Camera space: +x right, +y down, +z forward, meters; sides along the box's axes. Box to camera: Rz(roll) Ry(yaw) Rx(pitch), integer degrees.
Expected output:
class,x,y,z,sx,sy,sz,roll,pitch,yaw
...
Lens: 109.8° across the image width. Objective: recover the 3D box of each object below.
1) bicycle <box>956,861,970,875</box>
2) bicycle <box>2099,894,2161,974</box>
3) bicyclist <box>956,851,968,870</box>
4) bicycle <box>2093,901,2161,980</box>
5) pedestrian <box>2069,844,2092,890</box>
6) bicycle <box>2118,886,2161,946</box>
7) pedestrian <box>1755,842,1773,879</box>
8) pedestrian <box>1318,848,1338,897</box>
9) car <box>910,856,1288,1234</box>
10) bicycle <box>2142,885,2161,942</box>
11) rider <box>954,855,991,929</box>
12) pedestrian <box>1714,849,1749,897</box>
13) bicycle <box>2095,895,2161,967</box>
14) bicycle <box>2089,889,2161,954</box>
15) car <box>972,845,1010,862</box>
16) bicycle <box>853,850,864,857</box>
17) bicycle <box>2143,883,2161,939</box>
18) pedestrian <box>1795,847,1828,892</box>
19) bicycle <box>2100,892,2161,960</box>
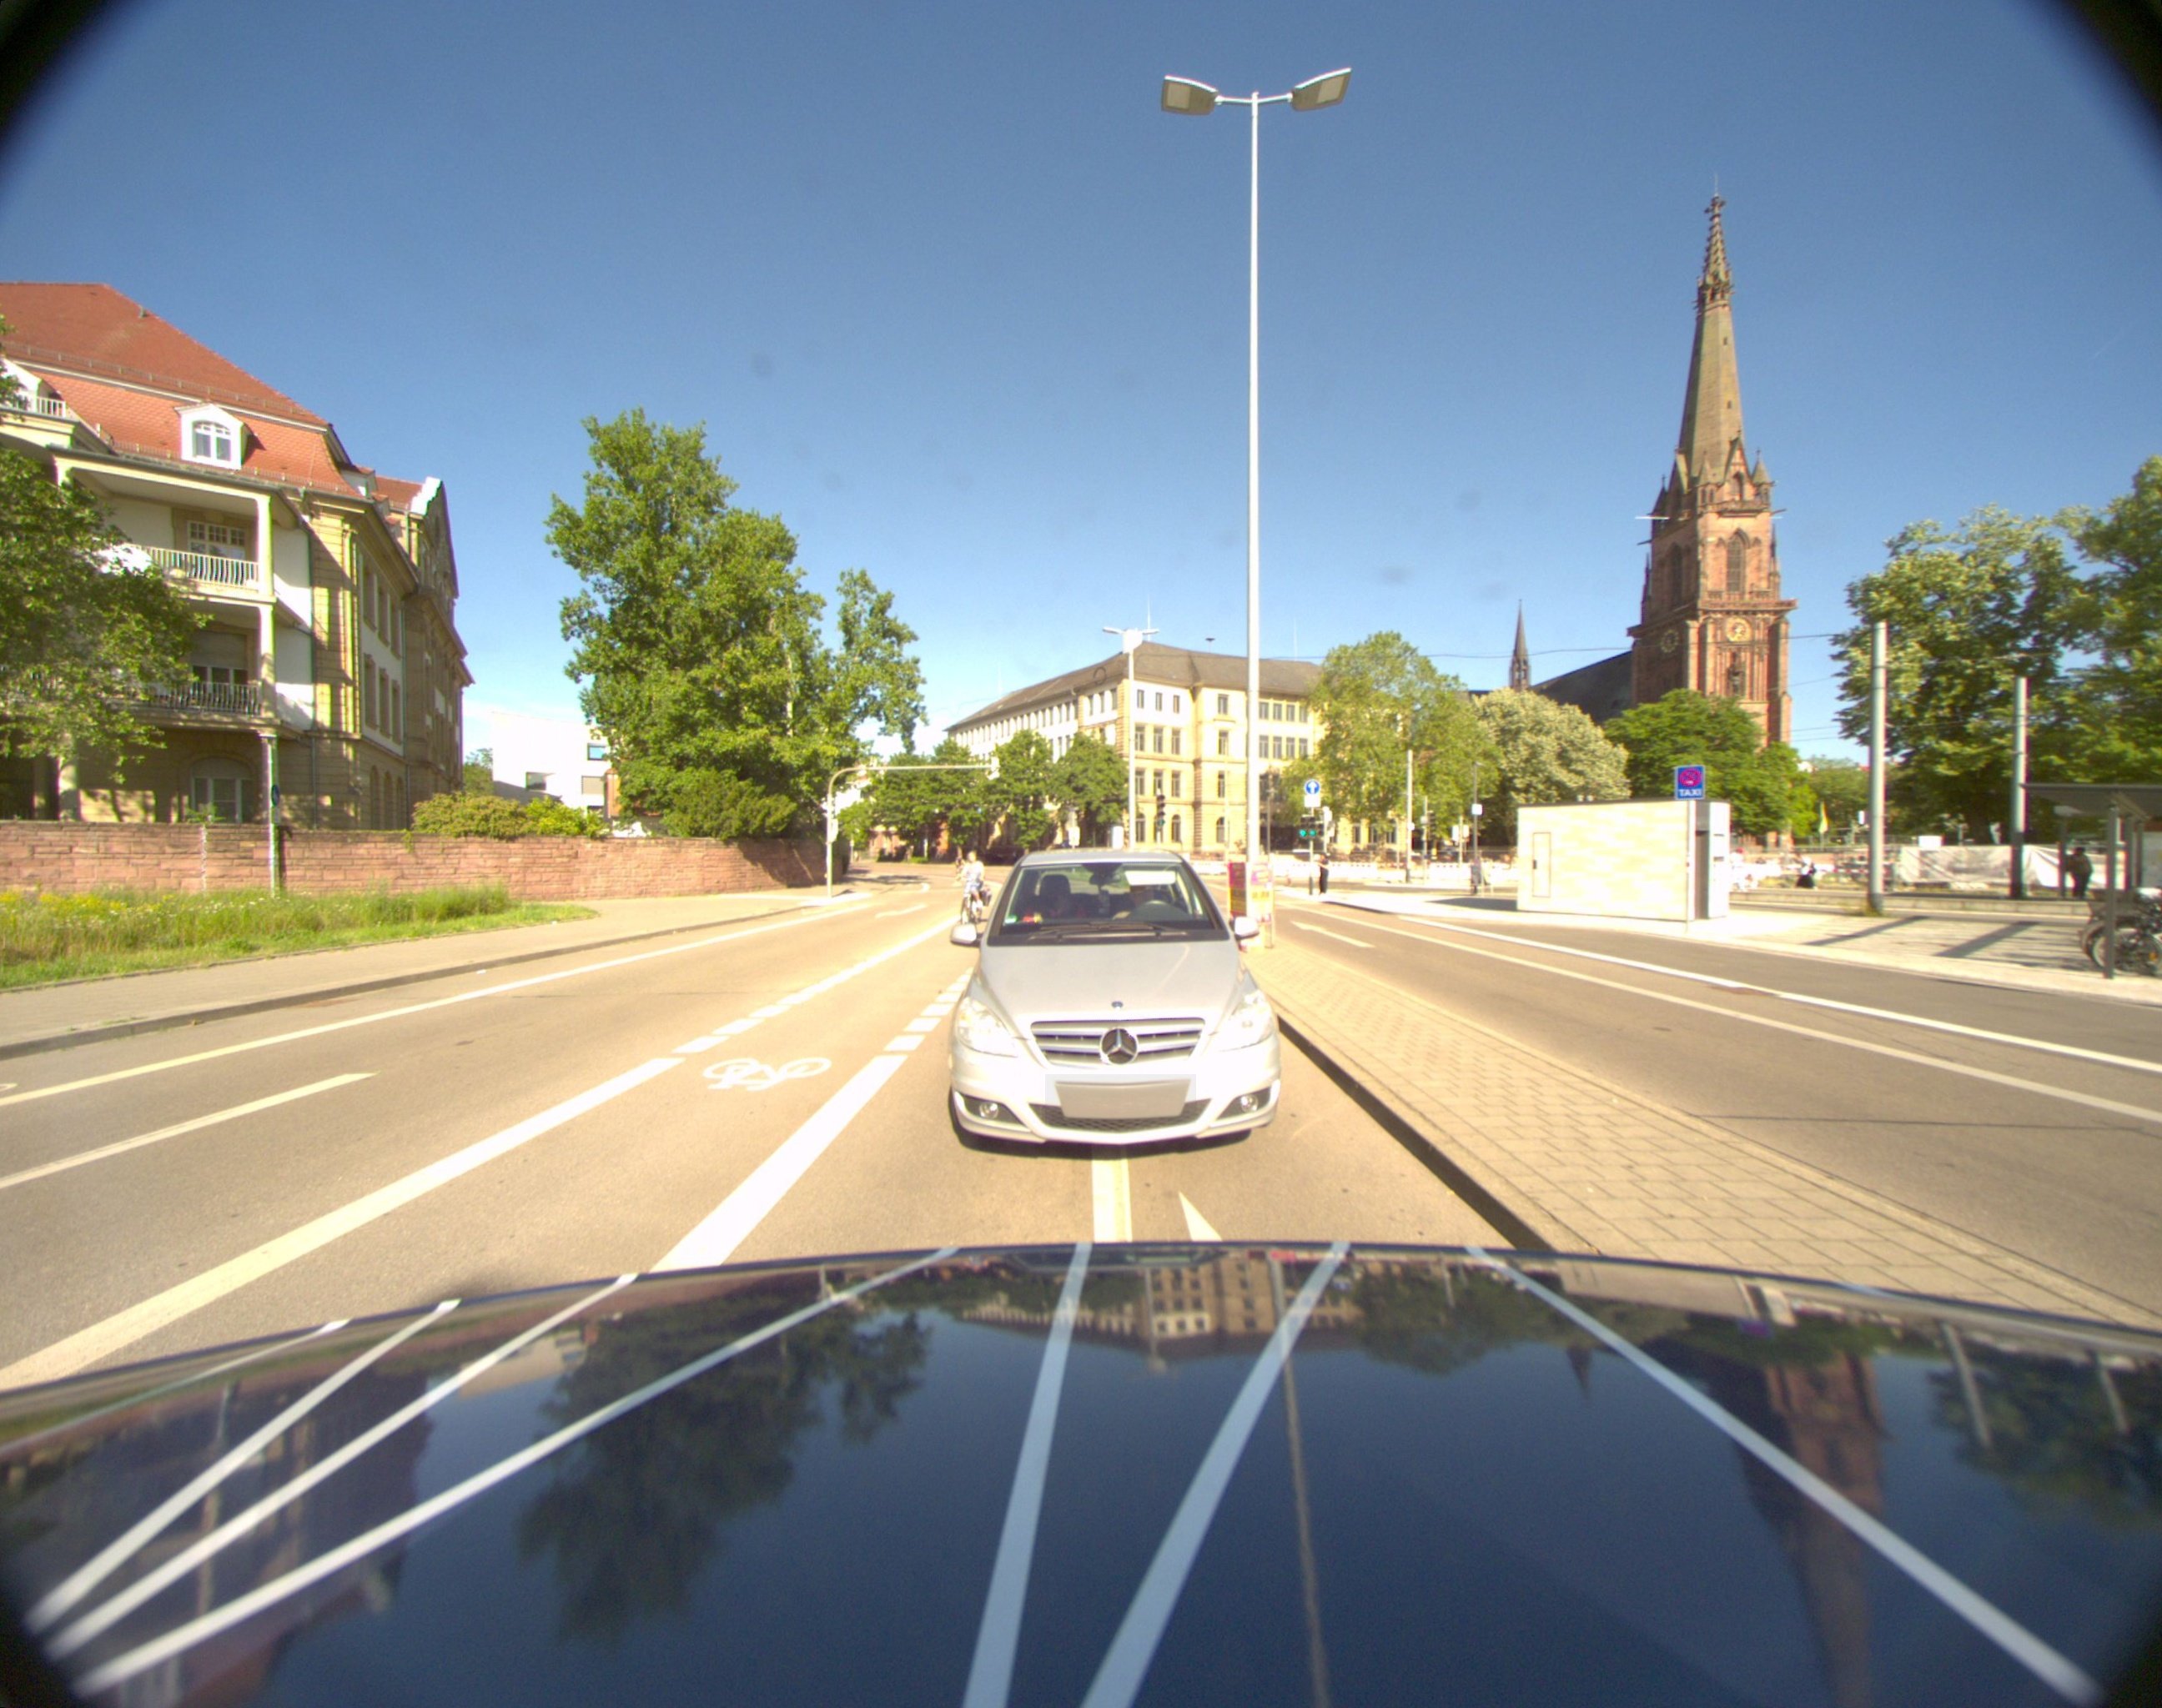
class,x,y,z,sx,sy,sz,roll,pitch,yaw
bicycle,-8.423,0.985,54.187,0.711,1.000,1.753,-1,1,1
bicycle,15.200,1.122,10.282,0.458,1.055,1.667,-1,1,-33
bicyclist,-8.431,0.478,54.023,0.711,1.309,0.777,-1,1,0
bicycle,14.699,1.170,9.967,0.458,1.003,1.667,-1,1,-33
pedestrian,37.529,0.498,28.529,0.404,1.711,0.419,1,1,38
bicycle,19.127,1.097,12.951,0.458,1.003,1.667,-1,1,-33
pedestrian,39.504,0.387,43.941,0.571,2.142,0.549,-1,1,-25
pedestrian,9.368,0.684,28.826,0.693,1.844,0.679,0,1,13
car,0.054,0.885,5.462,1.706,1.657,3.913,-1,1,-1
bicycle,19.894,1.074,13.202,0.458,1.003,1.667,-1,1,-33
rider,-2.459,0.843,17.294,0.658,1.611,0.989,-1,1,1
pedestrian,24.527,0.682,28.650,0.980,1.769,0.801,-1,1,-37
bicycle,16.073,1.152,10.978,0.458,1.003,1.667,-1,1,-33
bicycle,17.913,1.126,12.430,0.458,1.003,1.667,-1,1,-33
car,-10.733,-0.042,90.761,1.994,2.002,4.721,0,1,32
bicycle,-33.576,-0.034,114.740,1.830,0.985,0.735,0,1,44
bicycle,20.487,1.062,13.613,0.458,1.003,1.667,-1,1,-33
pedestrian,29.315,0.611,30.497,0.980,1.769,0.801,-1,1,-37
bicycle,17.259,1.146,11.657,0.458,1.003,1.899,-1,1,-33
